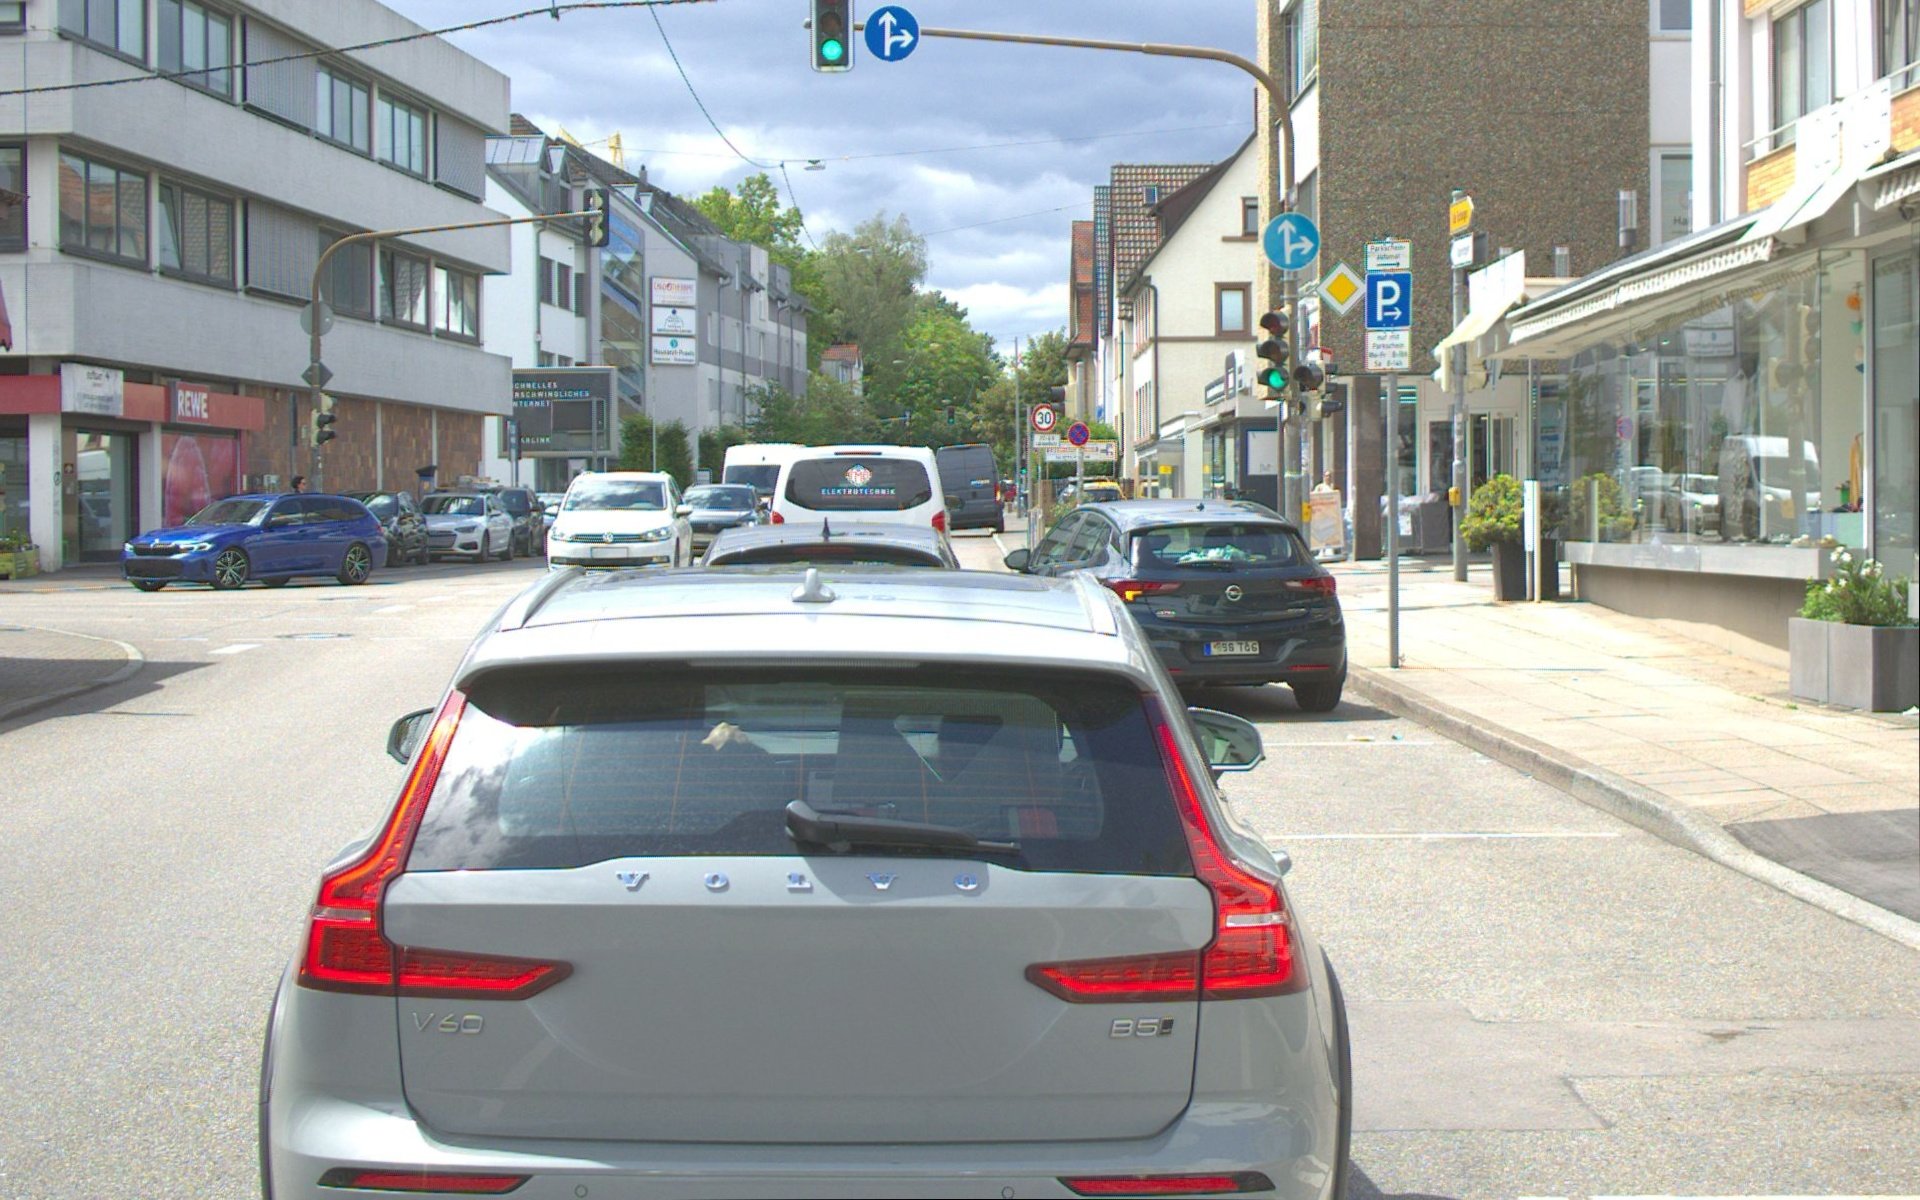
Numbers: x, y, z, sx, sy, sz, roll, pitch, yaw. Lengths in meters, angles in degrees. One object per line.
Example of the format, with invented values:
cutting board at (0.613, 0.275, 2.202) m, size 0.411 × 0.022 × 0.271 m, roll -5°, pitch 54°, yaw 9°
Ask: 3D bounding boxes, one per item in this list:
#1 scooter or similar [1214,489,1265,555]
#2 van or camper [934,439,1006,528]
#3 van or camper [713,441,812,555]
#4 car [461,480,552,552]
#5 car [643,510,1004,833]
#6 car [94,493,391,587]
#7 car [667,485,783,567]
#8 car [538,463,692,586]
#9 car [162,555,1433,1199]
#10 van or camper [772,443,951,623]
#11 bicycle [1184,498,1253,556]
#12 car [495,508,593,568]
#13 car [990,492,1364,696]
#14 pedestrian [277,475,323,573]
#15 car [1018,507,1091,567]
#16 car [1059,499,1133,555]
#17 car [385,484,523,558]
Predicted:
scooter or similar at (5.386, -1.500, 66.386) m, size 0.340 × 1.249 × 1.246 m, roll -3°, pitch 1°, yaw -26°
van or camper at (0.330, -3.615, 106.568) m, size 2.123 × 2.677 × 4.781 m, roll -1°, pitch 2°, yaw 1°
van or camper at (-4.601, -2.435, 80.755) m, size 2.148 × 2.547 × 5.439 m, roll -1°, pitch 3°, yaw -2°
car at (-10.159, -1.891, 77.182) m, size 1.607 × 1.537 × 2.944 m, roll 1°, pitch 2°, yaw 1°
car at (-0.650, 0.284, 17.651) m, size 1.650 × 1.477 × 3.608 m, roll 1°, pitch 1°, yaw -1°
car at (-10.870, -0.940, 52.355) m, size 1.997 × 1.333 × 4.349 m, roll 0°, pitch 2°, yaw 30°
car at (-4.439, -1.393, 65.354) m, size 1.791 × 1.506 × 3.845 m, roll 0°, pitch 1°, yaw 2°
car at (-4.859, -1.110, 48.905) m, size 1.775 × 1.607 × 4.120 m, roll -1°, pitch 3°, yaw -1°
car at (-0.256, 0.654, 6.976) m, size 1.836 × 1.481 × 4.000 m, roll 0°, pitch 1°, yaw -1°
van or camper at (-1.023, -0.707, 36.935) m, size 1.819 × 1.828 × 4.000 m, roll 0°, pitch 1°, yaw -1°
bicycle at (5.241, -1.484, 69.734) m, size 0.554 × 1.140 × 2.301 m, roll -2°, pitch 2°, yaw -18°
car at (-10.054, -1.509, 83.392) m, size 1.755 × 1.421 × 3.862 m, roll 0°, pitch 1°, yaw 2°
car at (1.464, -0.073, 24.603) m, size 1.807 × 1.342 × 3.719 m, roll 0°, pitch 1°, yaw -11°
pedestrian at (-11.197, -1.295, 58.362) m, size 0.619 × 1.635 × 0.660 m, roll -1°, pitch 2°, yaw 1°
car at (2.028, -1.361, 74.406) m, size 1.438 × 1.283 × 3.248 m, roll 0°, pitch 1°, yaw -1°
car at (3.718, -2.000, 94.694) m, size 1.710 × 1.459 × 4.000 m, roll 1°, pitch 0°, yaw -2°
car at (-10.444, -1.659, 71.288) m, size 1.904 × 1.438 × 4.443 m, roll 1°, pitch 2°, yaw 4°
